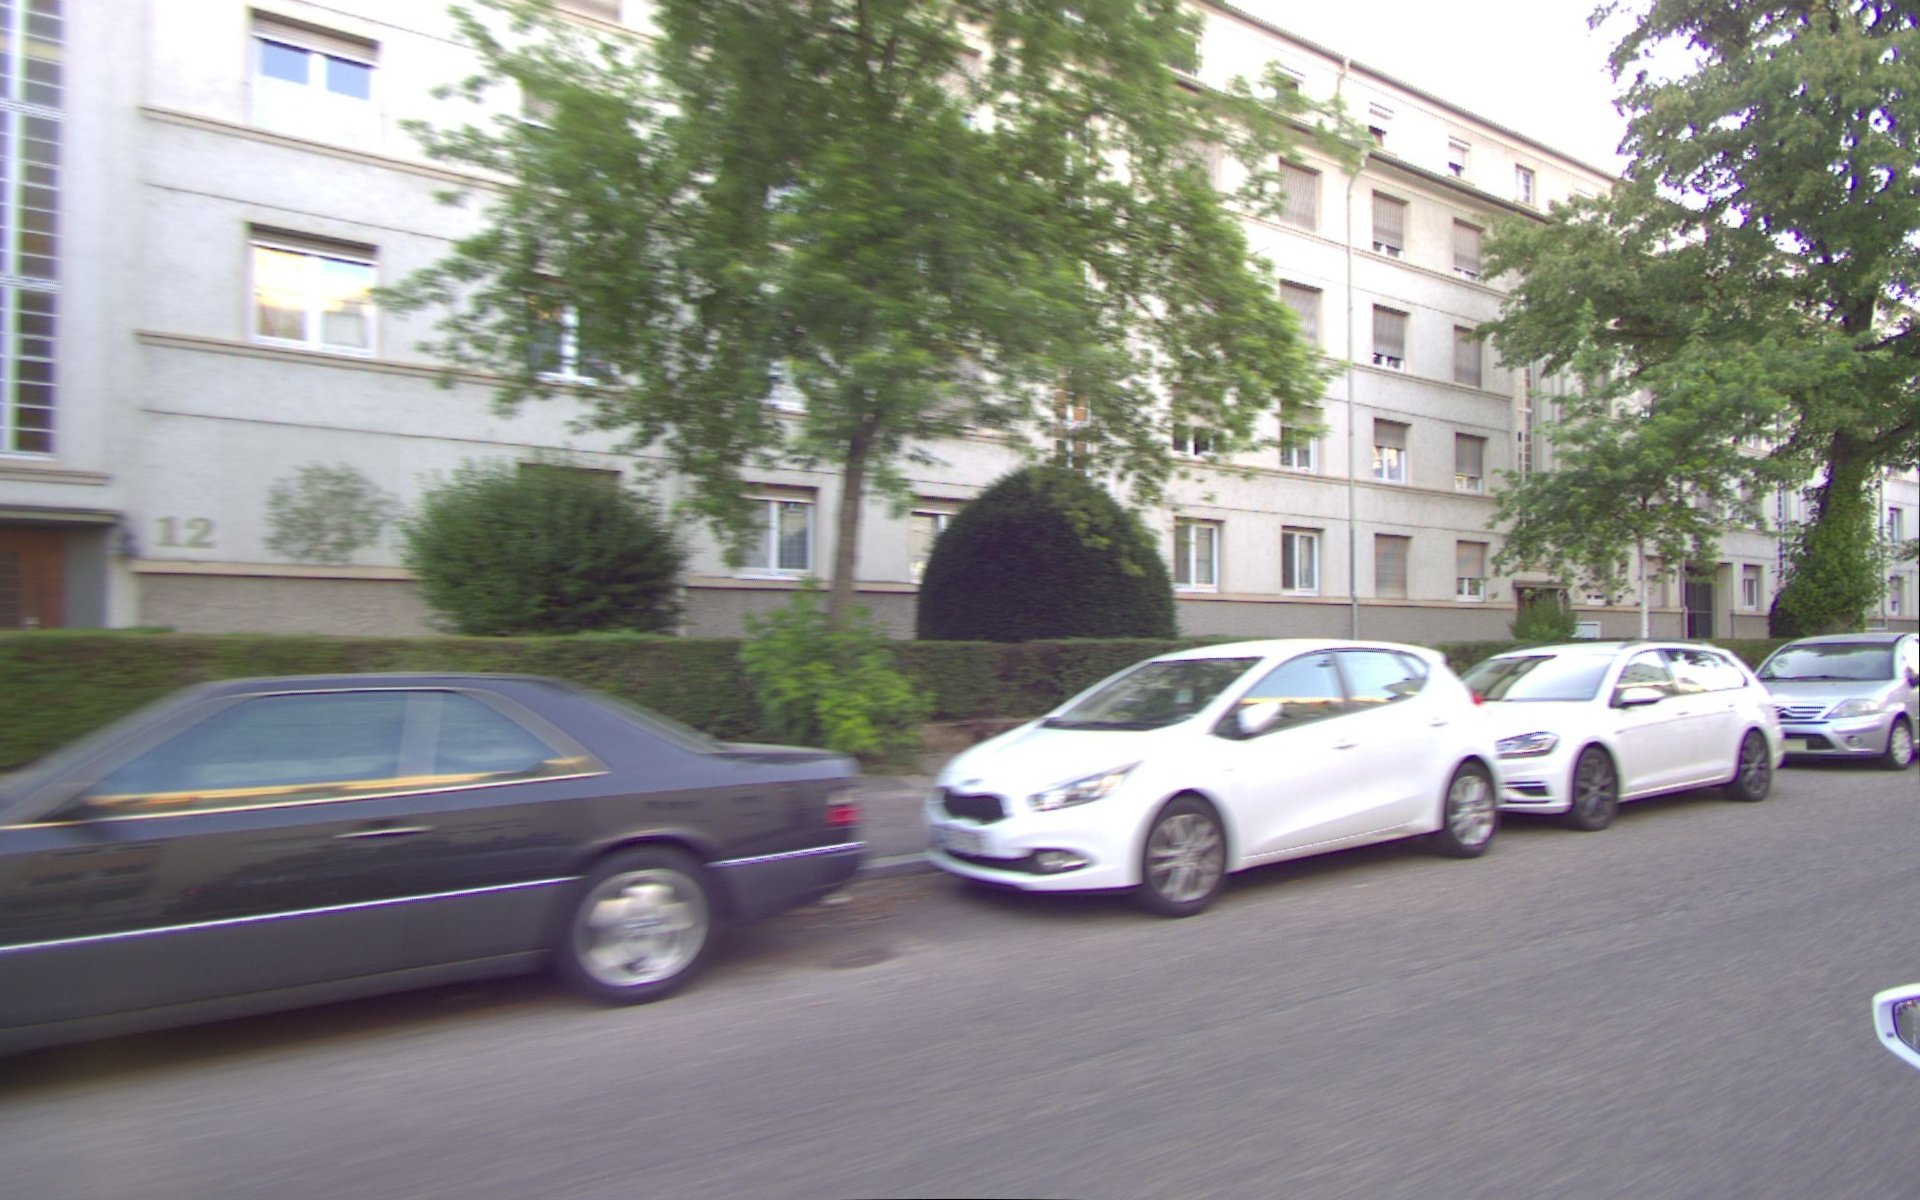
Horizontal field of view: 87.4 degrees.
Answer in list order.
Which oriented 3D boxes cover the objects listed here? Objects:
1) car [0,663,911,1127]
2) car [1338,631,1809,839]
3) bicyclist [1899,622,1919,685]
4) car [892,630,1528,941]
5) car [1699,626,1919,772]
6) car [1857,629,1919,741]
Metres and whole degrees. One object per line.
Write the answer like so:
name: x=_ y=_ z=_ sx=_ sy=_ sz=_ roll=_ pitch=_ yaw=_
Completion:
car: x=-2.592 y=0.991 z=4.207 sx=4.528 sy=1.349 sz=1.667 roll=1 pitch=-5 yaw=-31
car: x=5.593 y=1.069 z=9.024 sx=4.431 sy=1.478 sz=1.685 roll=1 pitch=-5 yaw=-31
bicyclist: x=22.146 y=1.226 z=22.919 sx=0.962 sy=1.422 sz=0.804 roll=1 pitch=-1 yaw=-30
car: x=1.755 y=0.994 z=6.637 sx=4.099 sy=1.478 sz=1.684 roll=1 pitch=-5 yaw=-32
car: x=10.839 y=1.136 z=12.209 sx=3.755 sy=1.524 sz=1.583 roll=1 pitch=-5 yaw=-31
car: x=14.639 y=1.189 z=14.472 sx=2.885 sy=1.548 sz=1.584 roll=1 pitch=-5 yaw=-28
